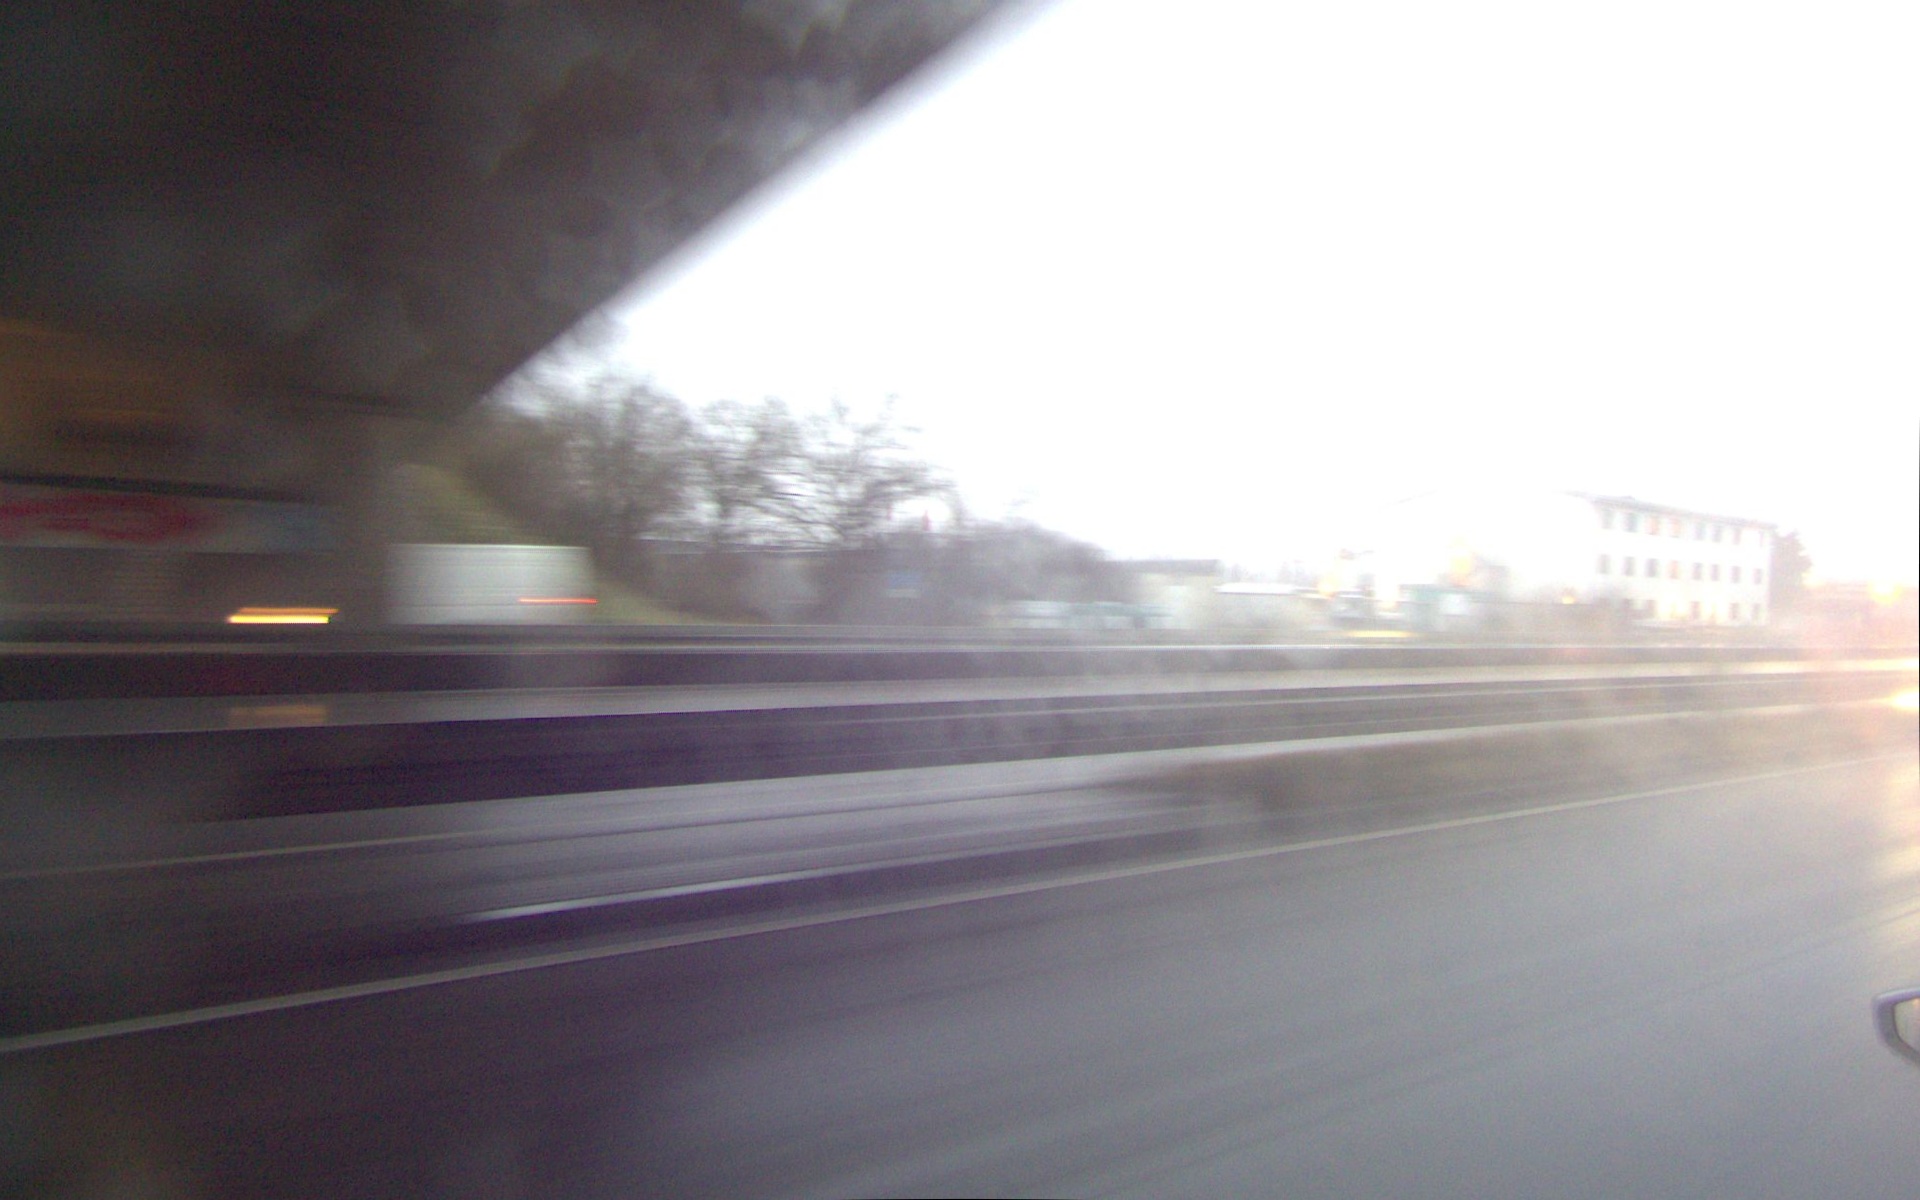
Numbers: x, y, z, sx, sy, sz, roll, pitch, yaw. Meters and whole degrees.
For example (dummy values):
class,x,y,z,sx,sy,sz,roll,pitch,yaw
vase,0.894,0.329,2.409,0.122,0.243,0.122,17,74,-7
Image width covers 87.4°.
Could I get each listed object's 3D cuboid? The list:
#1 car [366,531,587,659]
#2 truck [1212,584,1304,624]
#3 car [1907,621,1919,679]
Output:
class,x,y,z,sx,sy,sz,roll,pitch,yaw
car,-11.445,-0.123,23.952,4.520,2.810,2.181,1,3,-28
truck,19.787,0.249,66.539,6.731,2.488,1.980,1,3,-35
car,28.893,1.428,28.532,4.431,1.601,1.867,1,0,-32
